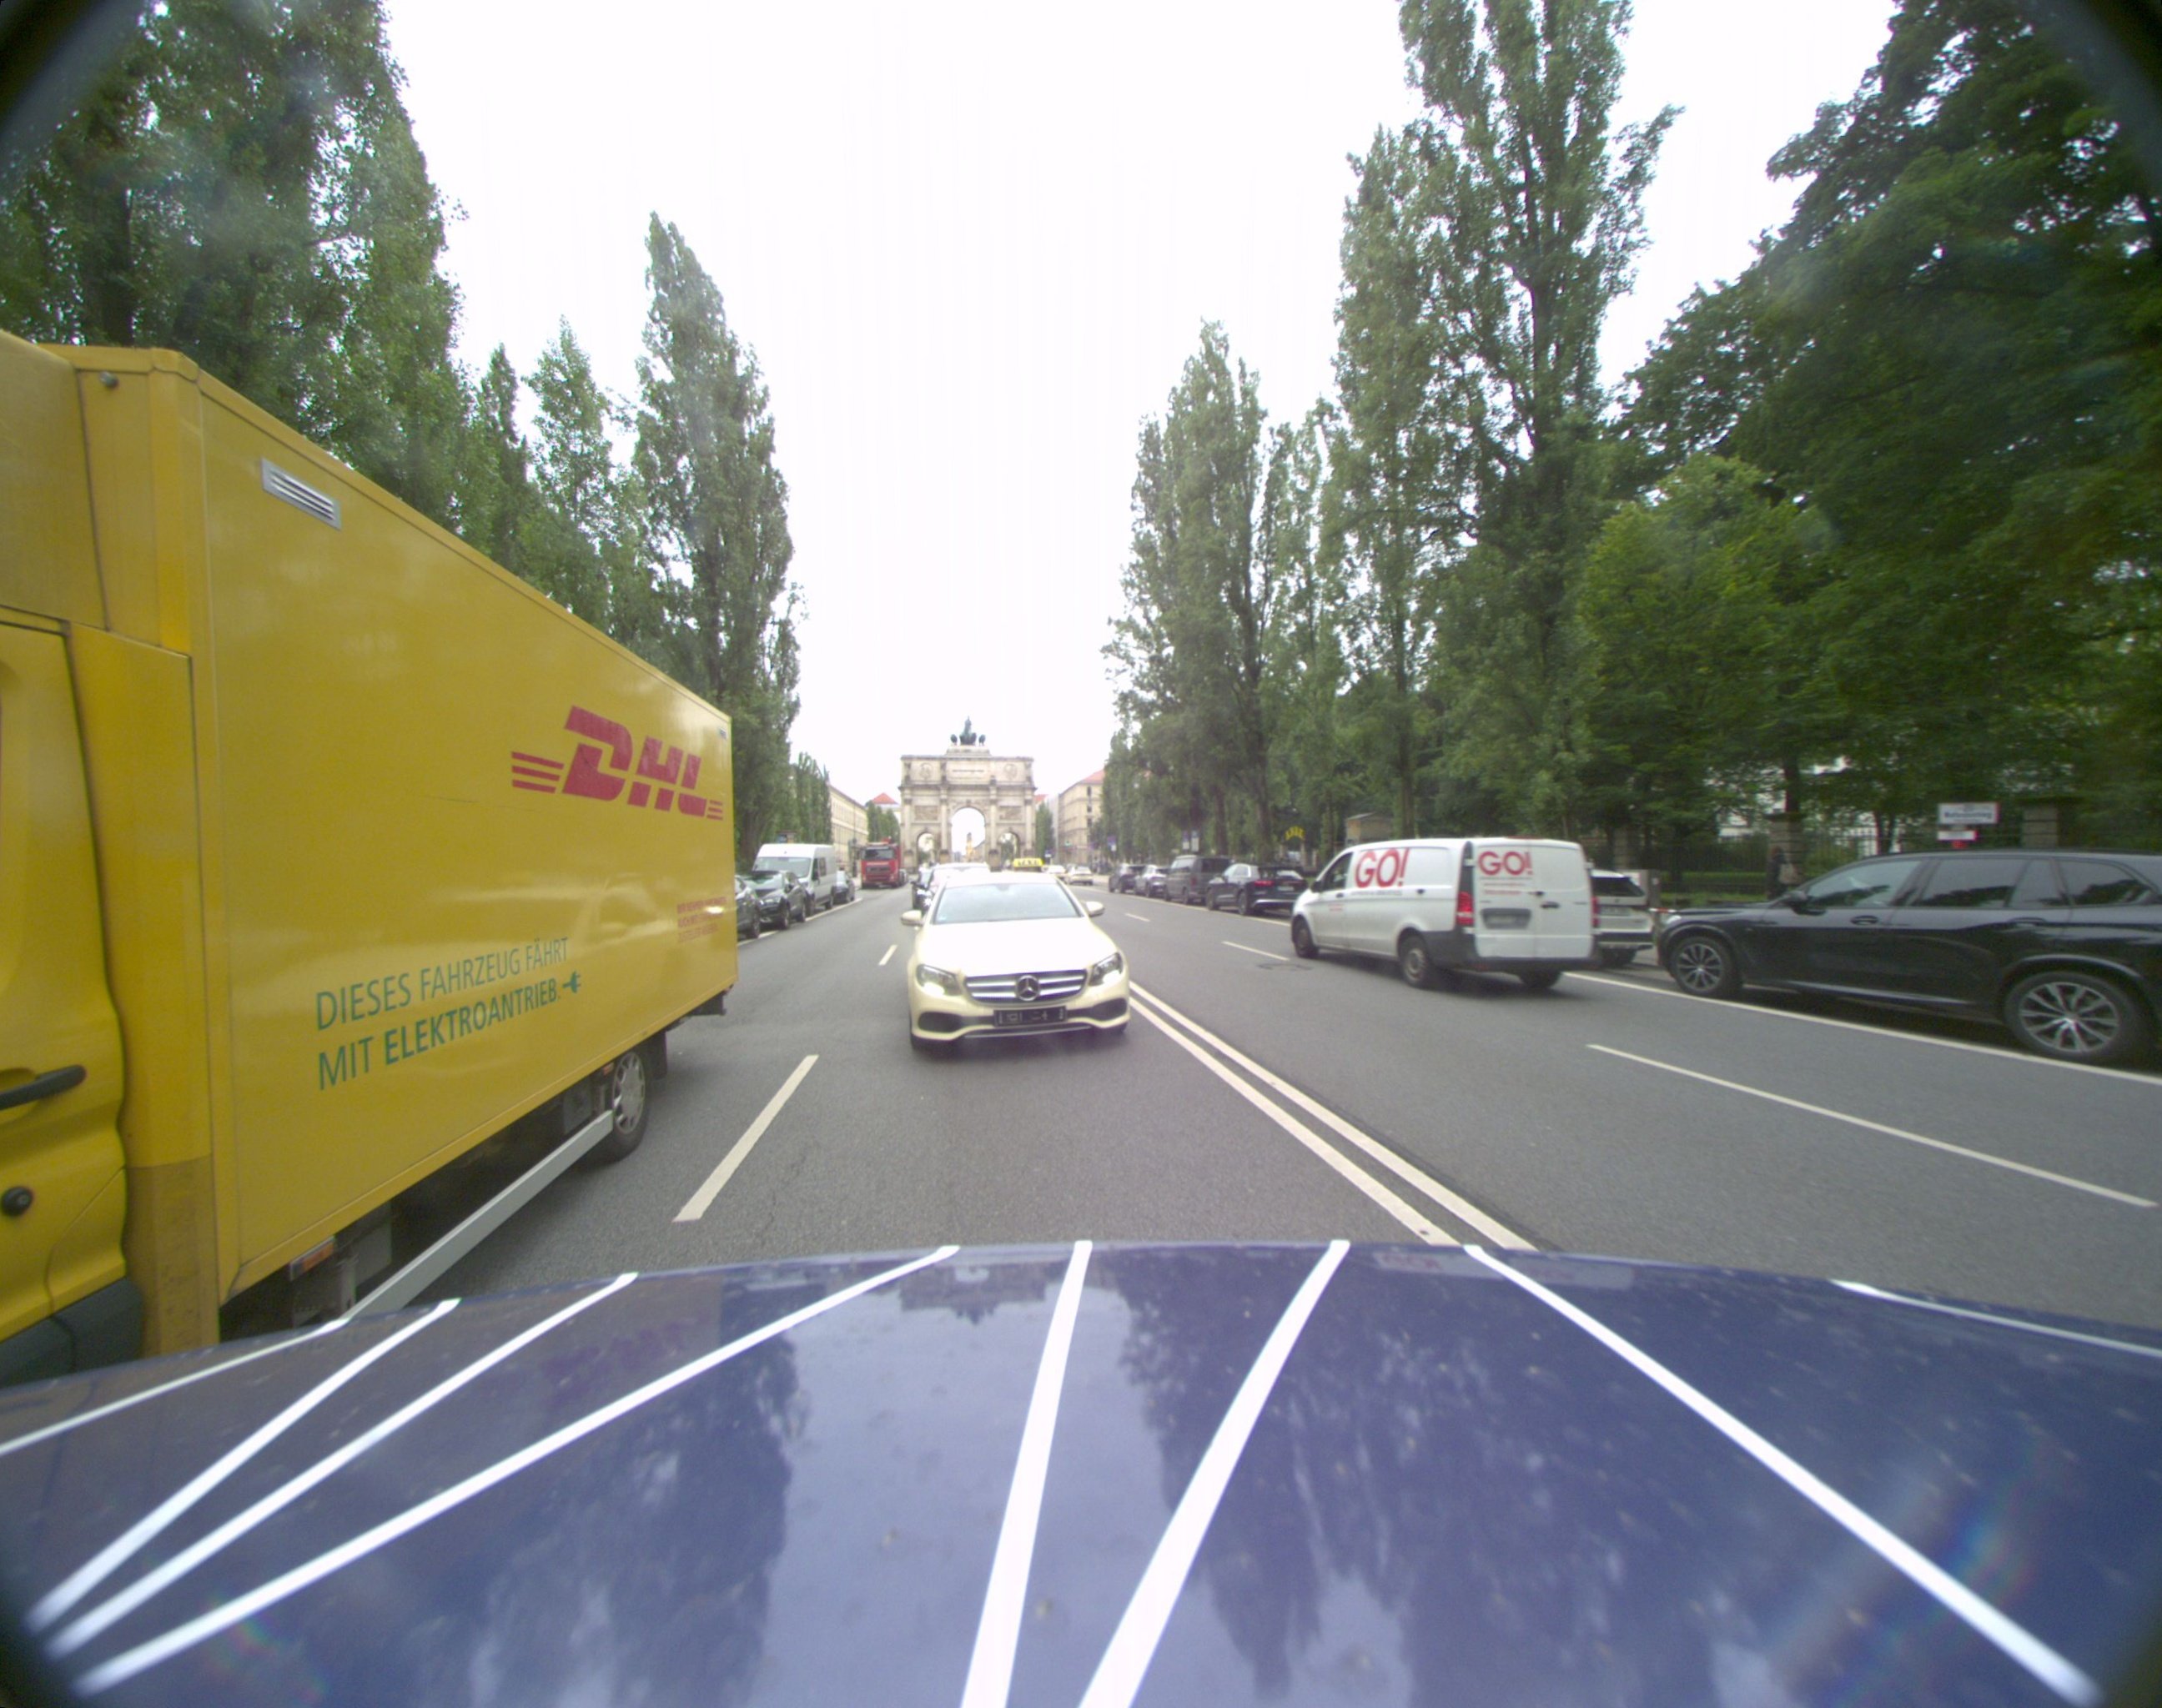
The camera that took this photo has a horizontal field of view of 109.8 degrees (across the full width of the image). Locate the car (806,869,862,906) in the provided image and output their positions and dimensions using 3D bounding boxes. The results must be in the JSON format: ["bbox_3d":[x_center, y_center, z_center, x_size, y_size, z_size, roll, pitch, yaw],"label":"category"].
[{"bbox_3d":[-11.107,1.451,34.397,1.760,1.441,3.997,-3,0,-10],"label":"car"}]

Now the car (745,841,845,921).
[{"bbox_3d":[-10.034,0.877,27.250,2.081,2.464,6.278,-2,0,-9],"label":"car"}]

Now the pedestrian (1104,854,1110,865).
[{"bbox_3d":[4.779,1.100,141.320,0.796,2.002,0.754,-1,0,-44],"label":"pedestrian"}]

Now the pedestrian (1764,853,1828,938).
[{"bbox_3d":[15.598,0.879,16.581,0.642,1.804,0.775,-1,0,-9],"label":"pedestrian"}]

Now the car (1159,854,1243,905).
[{"bbox_3d":[4.854,0.998,31.530,2.000,1.945,4.933,1,-1,-9],"label":"car"}]

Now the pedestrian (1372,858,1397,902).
[{"bbox_3d":[12.063,1.040,30.204,0.584,1.710,0.786,-2,0,-10],"label":"pedestrian"}]

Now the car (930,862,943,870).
[{"bbox_3d":[-33.460,2.735,175.900,1.786,1.739,4.323,-1,0,7],"label":"car"}]

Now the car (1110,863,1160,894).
[{"bbox_3d":[2.946,1.330,42.434,1.788,1.586,4.610,1,-1,-9],"label":"car"}]

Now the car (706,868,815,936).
[{"bbox_3d":[-8.766,1.246,21.151,1.827,1.581,4.219,-2,0,-10],"label":"car"}]

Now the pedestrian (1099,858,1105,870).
[{"bbox_3d":[3.154,1.492,113.312,0.846,1.668,0.967,-1,0,8],"label":"pedestrian"}]

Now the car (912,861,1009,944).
[{"bbox_3d":[-2.871,1.027,18.156,1.955,1.615,4.408,-3,0,-9],"label":"car"}]

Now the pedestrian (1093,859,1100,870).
[{"bbox_3d":[2.279,1.515,113.531,0.846,1.668,0.967,-1,0,8],"label":"pedestrian"}]

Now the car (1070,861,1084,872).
[{"bbox_3d":[-0.843,2.282,141.452,2.005,1.844,4.986,0,0,-7],"label":"car"}]

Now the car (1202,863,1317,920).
[{"bbox_3d":[5.654,1.141,24.827,1.821,1.599,5.049,1,0,-9],"label":"car"}]

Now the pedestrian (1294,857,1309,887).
[{"bbox_3d":[12.283,0.993,42.329,0.551,1.659,0.531,-2,1,-10],"label":"pedestrian"}]

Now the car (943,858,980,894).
[{"bbox_3d":[-6.586,1.185,41.957,1.891,1.846,4.309,-1,0,-8],"label":"car"}]

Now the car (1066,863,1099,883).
[{"bbox_3d":[0.057,1.504,61.000,1.937,1.488,4.787,0,-1,-8],"label":"car"}]

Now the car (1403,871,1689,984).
[{"bbox_3d":[7.703,1.120,13.222,1.791,1.579,4.458,1,-1,-8],"label":"car"}]

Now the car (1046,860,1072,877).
[{"bbox_3d":[-2.264,1.414,75.511,1.944,1.615,4.960,0,0,-9],"label":"car"}]

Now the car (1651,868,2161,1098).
[{"bbox_3d":[8.549,1.005,7.421,1.886,1.648,4.714,2,-1,-10],"label":"car"}]

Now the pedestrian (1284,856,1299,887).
[{"bbox_3d":[11.673,0.984,42.139,0.551,1.691,0.531,-2,1,-10],"label":"pedestrian"}]

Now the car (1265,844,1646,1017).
[{"bbox_3d":[4.866,0.863,11.228,2.190,1.880,5.691,1,0,-8],"label":"car"}]

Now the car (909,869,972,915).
[{"bbox_3d":[-4.940,1.273,26.751,1.924,1.320,4.407,-3,0,-11],"label":"car"}]

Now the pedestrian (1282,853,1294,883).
[{"bbox_3d":[12.455,0.831,45.795,0.435,1.824,0.611,-1,1,-10],"label":"pedestrian"}]

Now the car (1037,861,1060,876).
[{"bbox_3d":[-3.569,1.574,82.468,1.824,1.550,4.854,1,0,-9],"label":"car"}]

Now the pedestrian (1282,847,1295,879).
[{"bbox_3d":[12.669,0.556,46.447,0.551,1.948,0.531,-2,1,-10],"label":"pedestrian"}]

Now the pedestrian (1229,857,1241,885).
[{"bbox_3d":[9.703,1.045,47.781,0.551,1.737,0.531,-2,1,-10],"label":"pedestrian"}]

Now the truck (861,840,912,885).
[{"bbox_3d":[-14.522,0.616,57.394,2.722,3.091,10.418,-1,0,-9],"label":"truck"}]

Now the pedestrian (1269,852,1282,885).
[{"bbox_3d":[11.809,0.865,46.023,0.551,1.948,0.531,-2,1,-10],"label":"pedestrian"}]

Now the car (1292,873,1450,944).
[{"bbox_3d":[6.854,1.230,18.483,1.682,1.414,4.234,1,0,-9],"label":"car"}]

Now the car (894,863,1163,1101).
[{"bbox_3d":[-0.827,0.936,7.886,1.921,1.566,4.684,-3,0,-12],"label":"car"}]

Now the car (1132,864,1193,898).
[{"bbox_3d":[3.980,1.281,37.958,1.897,1.575,4.650,0,0,-9],"label":"car"}]

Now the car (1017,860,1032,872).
[{"bbox_3d":[-7.968,1.718,107.892,1.789,1.646,4.114,1,0,1],"label":"car"}]

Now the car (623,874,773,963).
[{"bbox_3d":[-7.969,1.255,16.217,1.657,1.494,4.110,-2,0,-10],"label":"car"}]

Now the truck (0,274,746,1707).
[{"bbox_3d":[-3.357,0.399,2.562,2.335,2.881,7.326,-1,0,-10],"label":"truck"}]

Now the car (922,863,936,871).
[{"bbox_3d":[-34.183,2.805,170.839,1.786,1.739,4.323,-1,0,7],"label":"car"}]

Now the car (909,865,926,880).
[{"bbox_3d":[-18.867,2.131,87.859,1.809,1.619,3.996,0,0,-10],"label":"car"}]
